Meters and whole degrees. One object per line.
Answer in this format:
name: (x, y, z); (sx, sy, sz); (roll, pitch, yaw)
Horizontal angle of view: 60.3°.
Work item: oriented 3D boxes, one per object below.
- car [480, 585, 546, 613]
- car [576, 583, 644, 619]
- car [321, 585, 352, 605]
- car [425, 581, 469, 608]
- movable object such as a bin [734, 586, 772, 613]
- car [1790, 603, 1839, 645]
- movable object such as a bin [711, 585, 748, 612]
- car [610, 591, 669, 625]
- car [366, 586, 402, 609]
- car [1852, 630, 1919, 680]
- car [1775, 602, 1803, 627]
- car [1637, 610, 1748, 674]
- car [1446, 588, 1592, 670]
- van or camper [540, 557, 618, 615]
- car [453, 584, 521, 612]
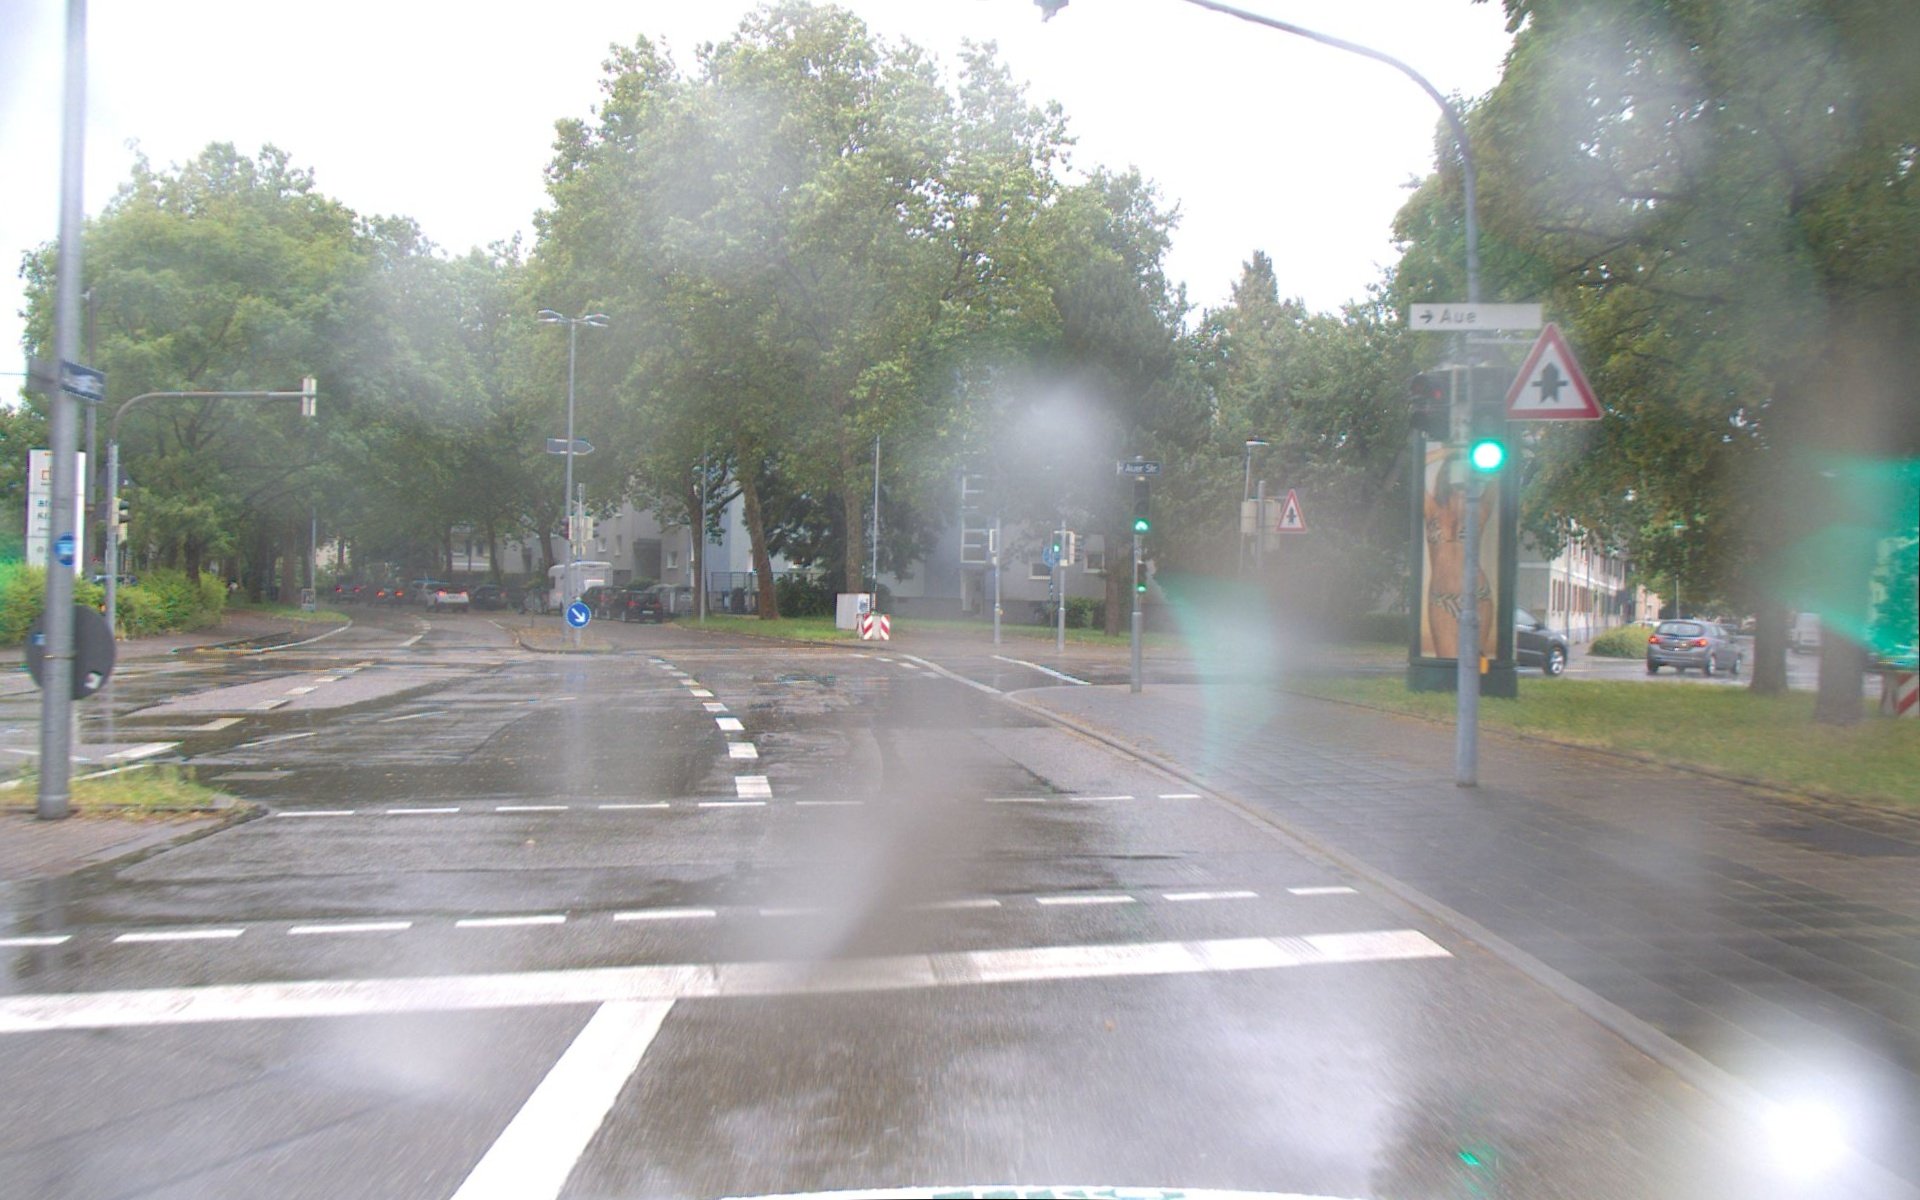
car: (-27.804, -0.064, 103.000); (1.764, 1.629, 3.761); (2, 0, 30)
car: (-16.972, 0.062, 80.095); (1.896, 1.649, 4.407); (2, -2, -31)
car: (-47.709, -0.396, 126.463); (1.688, 1.436, 3.608); (-1, 1, -30)
car: (-29.215, -0.324, 94.115); (1.688, 1.436, 3.608); (-1, 1, -30)
movable object such as a bin: (-11.671, -0.020, 93.134); (1.830, 1.457, 1.209); (2, 0, 43)
car: (48.527, 1.347, 93.986); (2.304, 2.247, 4.608); (2, 0, 26)
movable object such as a bin: (-13.156, -0.084, 94.356); (1.830, 1.457, 1.209); (2, 0, 43)
car: (-14.628, 0.333, 75.357); (1.530, 1.414, 4.113); (2, 0, -27)
car: (-39.000, -0.181, 111.936); (1.688, 1.436, 3.608); (-1, 1, -30)
car: (31.935, 1.860, 57.107); (1.937, 1.576, 4.522); (2, 0, 29)
car: (72.020, 1.283, 143.764); (1.954, 2.049, 3.997); (2, 0, 25)
car: (20.433, 1.170, 46.049); (1.961, 1.630, 4.071); (2, 0, 37)
car: (13.134, 0.678, 38.704); (1.961, 1.774, 4.286); (2, 0, 37)
van or camper: (-20.144, -0.733, 87.257); (2.292, 2.856, 6.801); (2, 0, -28)
car: (-29.888, -0.140, 104.556); (1.764, 1.629, 3.992); (2, 0, 30)
